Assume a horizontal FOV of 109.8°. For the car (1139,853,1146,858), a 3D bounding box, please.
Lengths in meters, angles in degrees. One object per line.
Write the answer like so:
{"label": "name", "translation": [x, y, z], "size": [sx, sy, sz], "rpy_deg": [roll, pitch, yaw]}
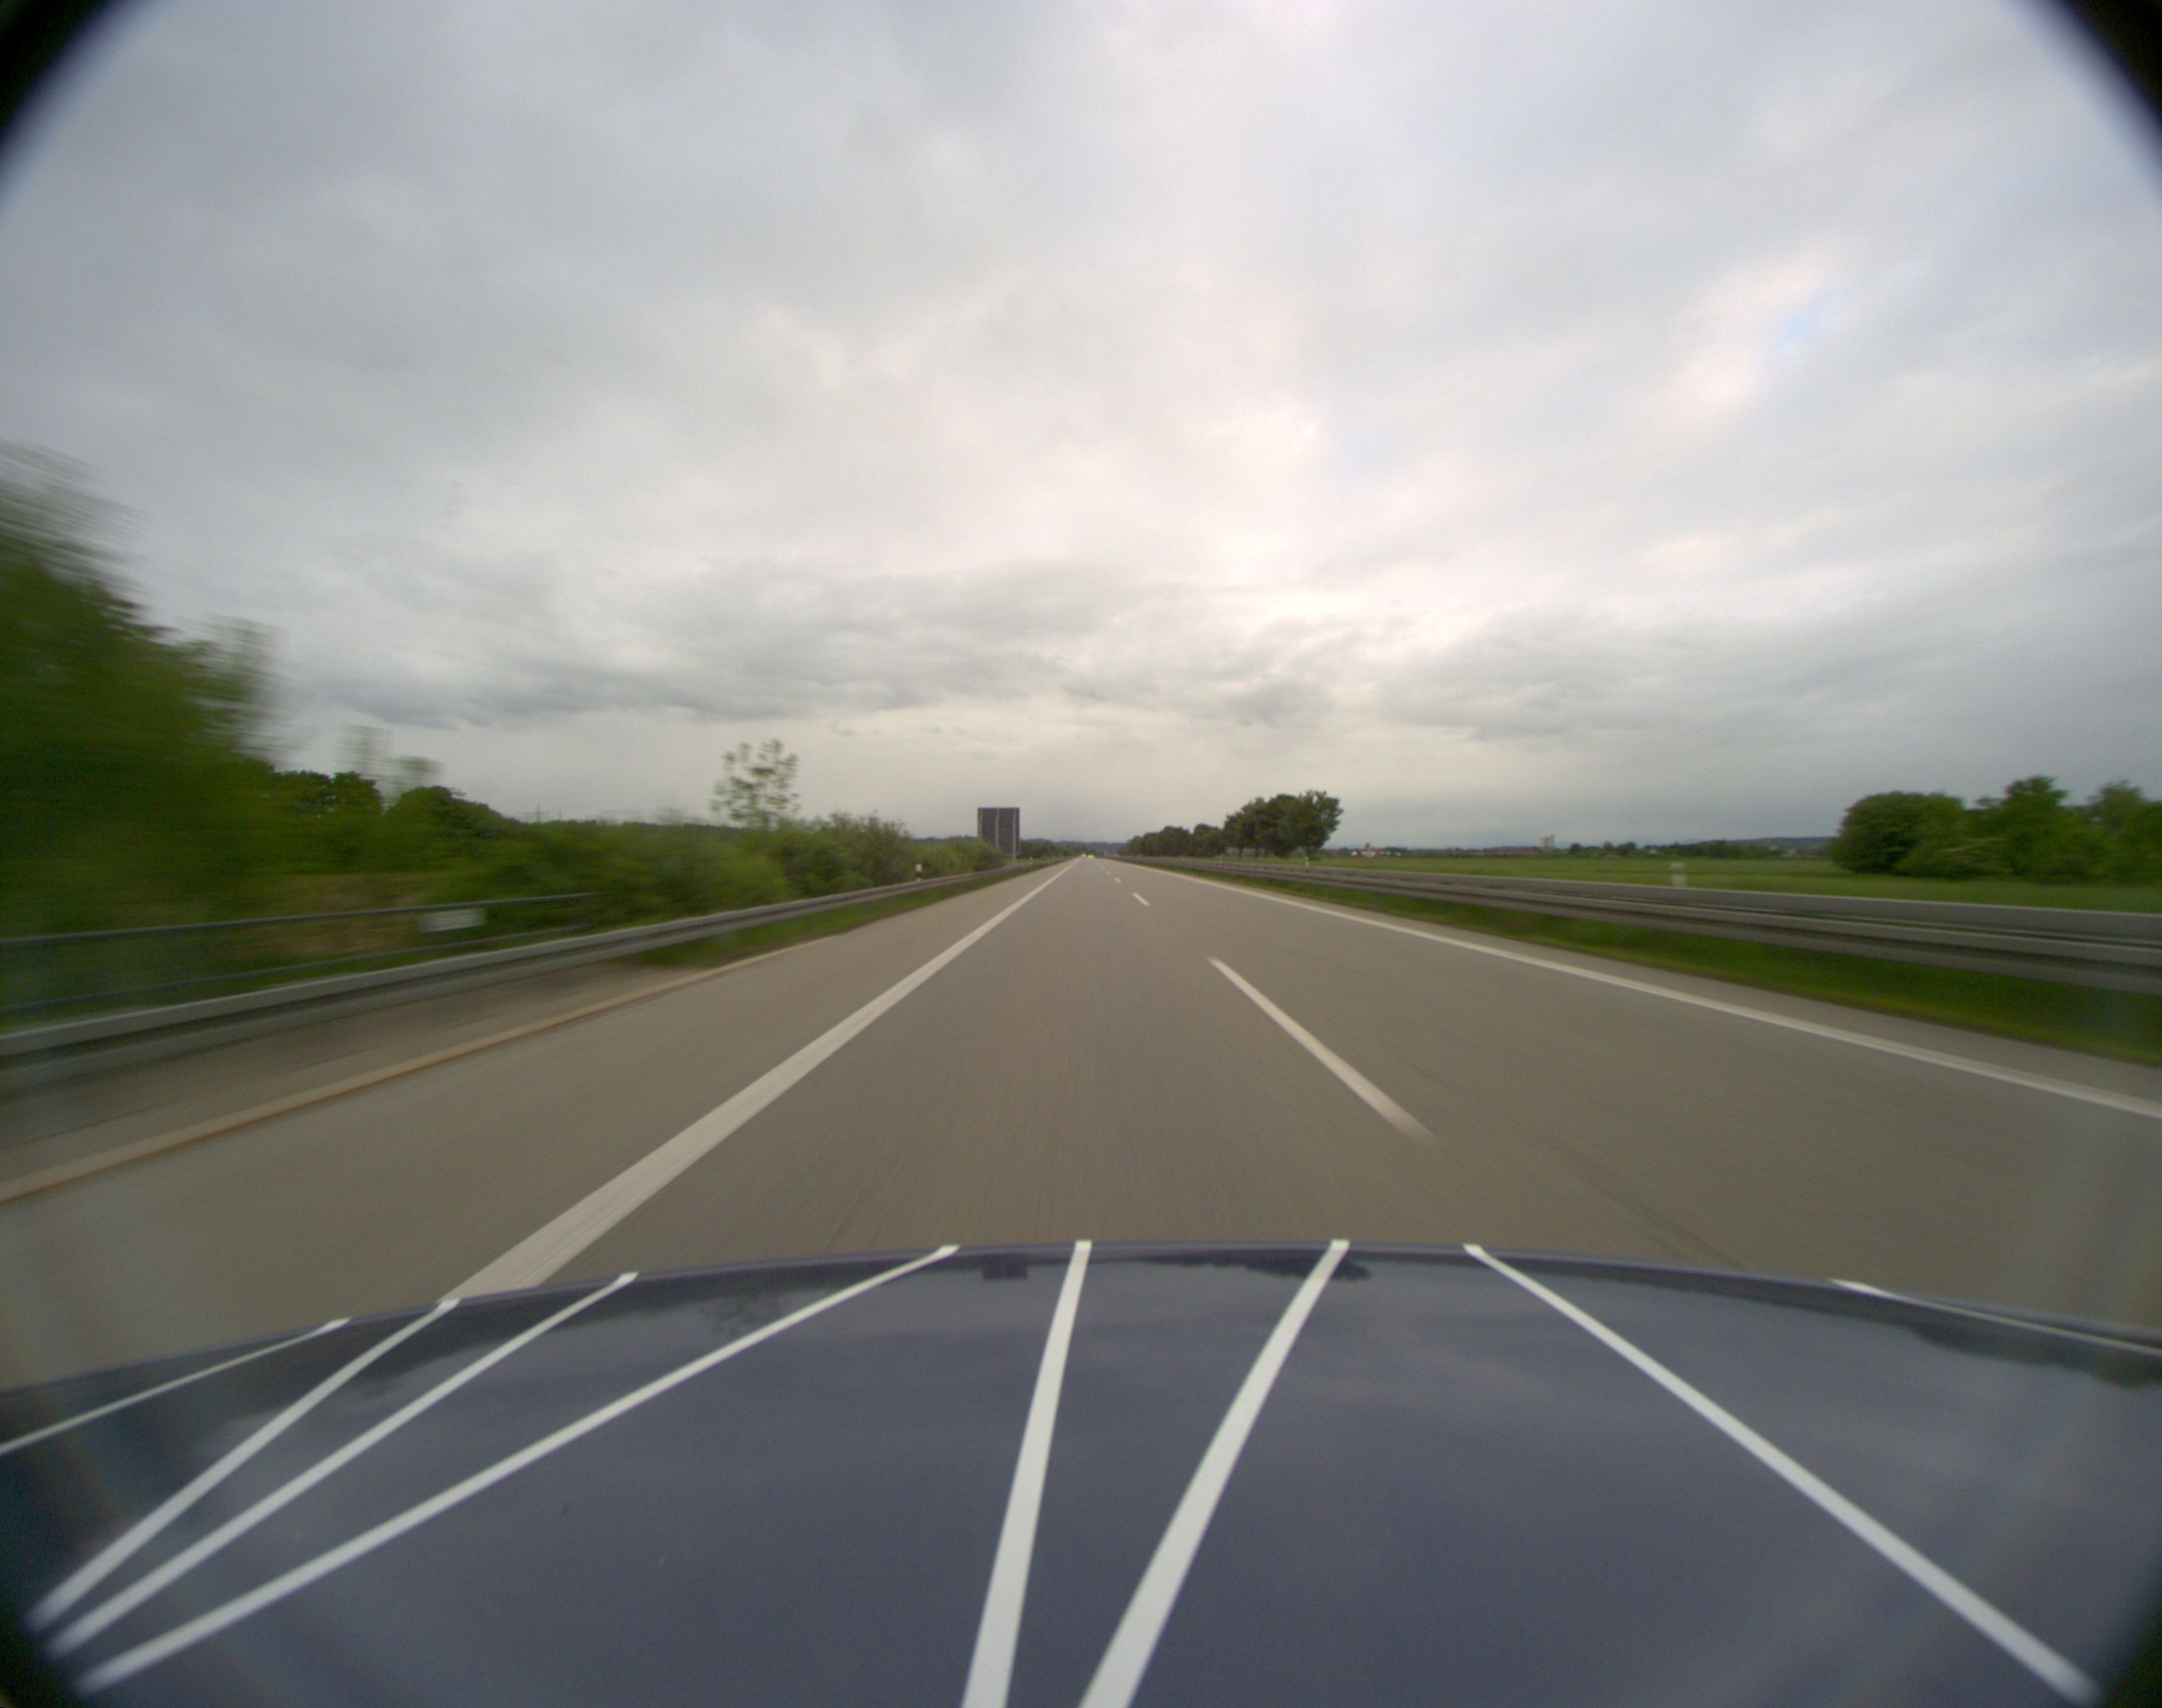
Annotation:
{"label": "car", "translation": [18.442, 0.525, 228.034], "size": [1.998, 1.437, 4.000], "rpy_deg": [-2, 1, 1]}
